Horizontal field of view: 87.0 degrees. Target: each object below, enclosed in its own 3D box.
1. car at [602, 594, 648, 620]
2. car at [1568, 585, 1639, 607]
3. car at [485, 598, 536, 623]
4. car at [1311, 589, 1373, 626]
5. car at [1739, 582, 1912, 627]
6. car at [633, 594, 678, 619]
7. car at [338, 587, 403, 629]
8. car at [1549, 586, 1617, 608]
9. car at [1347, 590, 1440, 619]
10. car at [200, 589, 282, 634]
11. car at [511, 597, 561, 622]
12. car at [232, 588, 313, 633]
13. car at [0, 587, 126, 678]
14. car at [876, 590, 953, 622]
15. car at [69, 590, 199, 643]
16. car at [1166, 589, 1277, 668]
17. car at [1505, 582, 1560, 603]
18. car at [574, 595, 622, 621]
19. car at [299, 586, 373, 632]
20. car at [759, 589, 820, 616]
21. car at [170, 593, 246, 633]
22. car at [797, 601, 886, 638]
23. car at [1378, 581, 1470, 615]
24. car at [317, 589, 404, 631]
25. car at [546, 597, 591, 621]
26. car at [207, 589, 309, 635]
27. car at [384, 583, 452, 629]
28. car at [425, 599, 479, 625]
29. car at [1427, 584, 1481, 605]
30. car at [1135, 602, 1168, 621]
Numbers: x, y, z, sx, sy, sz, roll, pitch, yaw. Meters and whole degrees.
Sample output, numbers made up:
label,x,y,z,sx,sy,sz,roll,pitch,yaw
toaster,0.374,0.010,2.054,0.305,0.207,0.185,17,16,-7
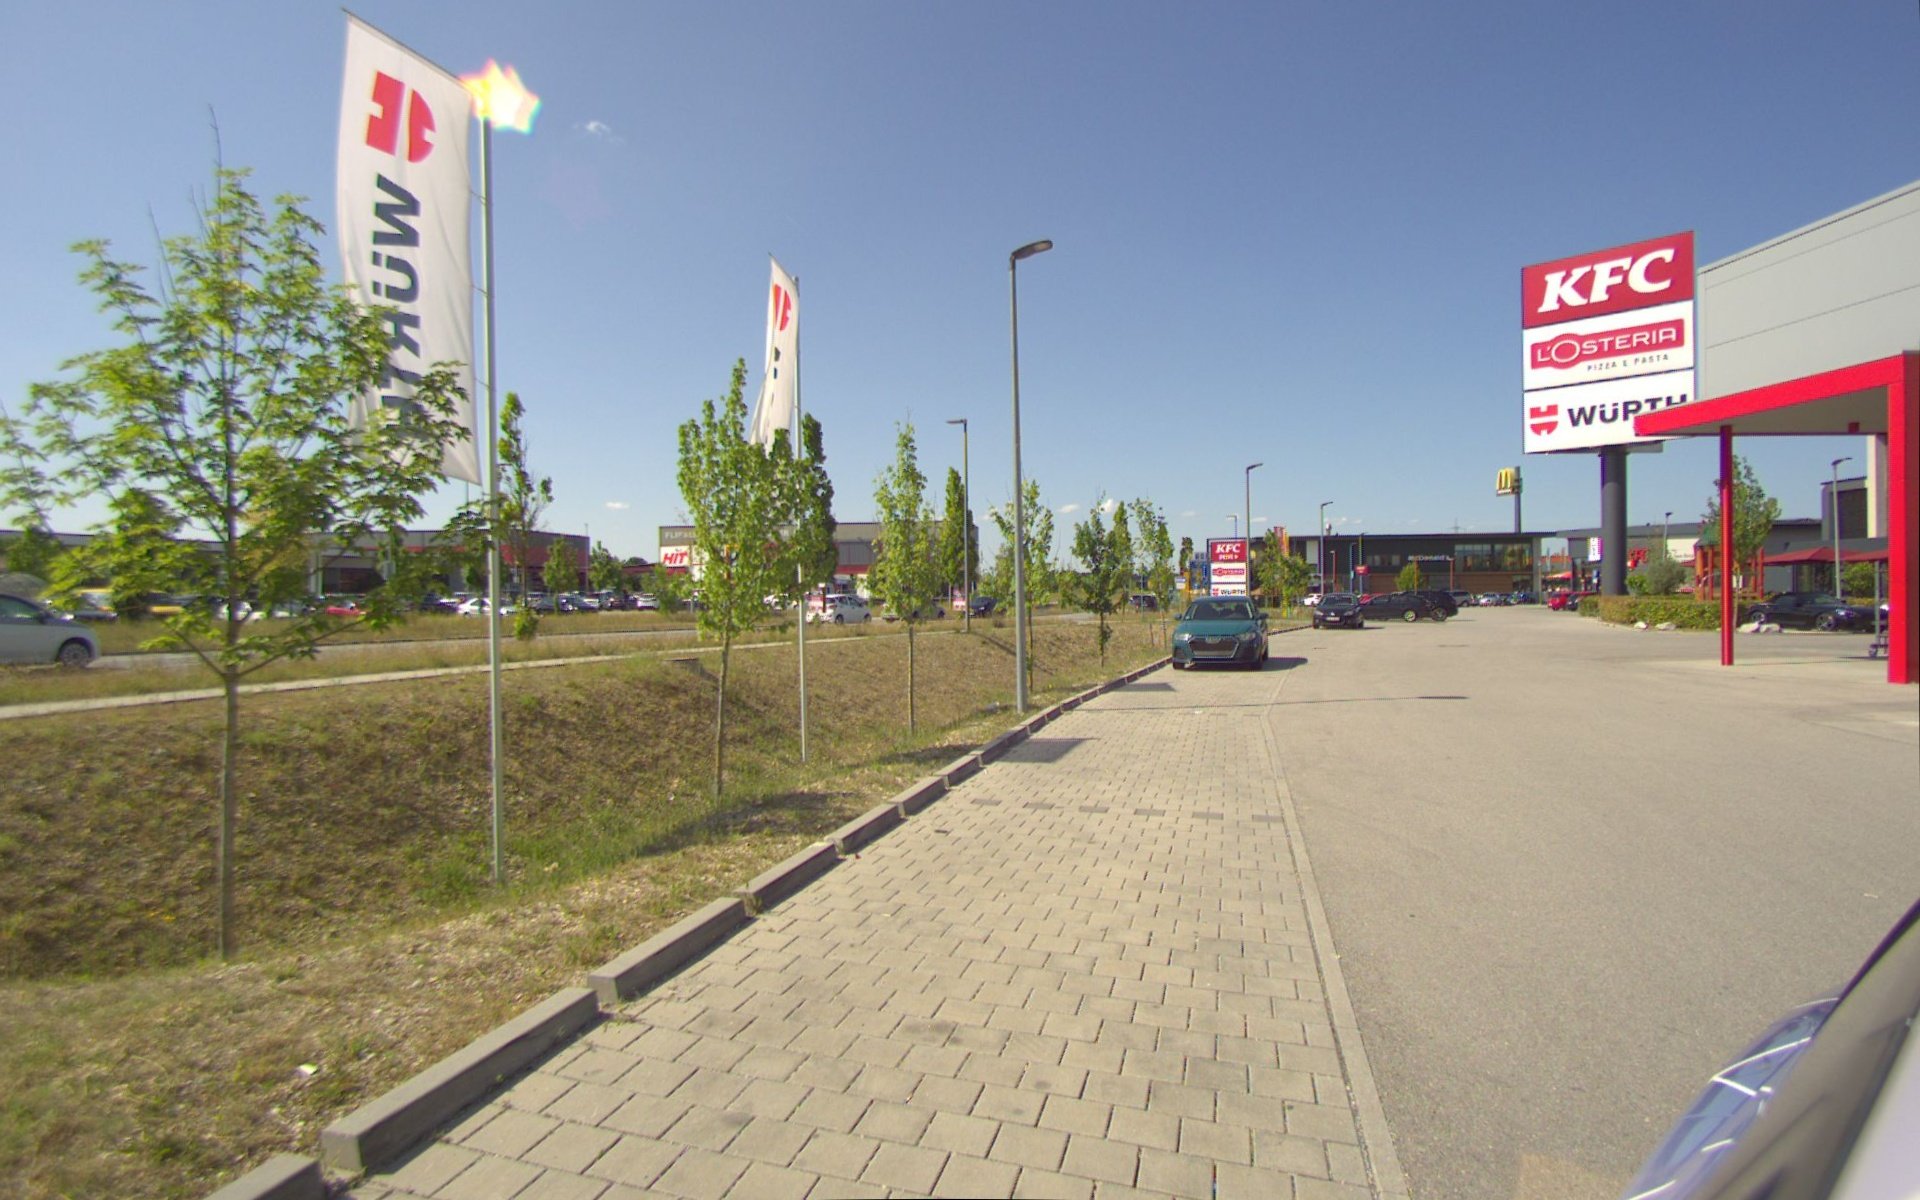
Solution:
label,x,y,z,sx,sy,sz,roll,pitch,yaw
car,-28.190,0.594,85.268,1.966,2.063,4.475,-1,0,7
car,48.247,-0.268,75.977,4.027,1.585,1.875,-1,0,7
car,-38.442,0.859,86.645,1.966,2.063,4.475,-1,0,7
car,16.141,0.283,42.641,1.861,1.484,4.320,-1,0,29
car,27.969,0.126,32.904,1.794,1.354,4.158,-1,0,-5
car,-25.455,0.523,84.778,1.966,2.063,4.475,-1,0,7
car,-42.314,0.576,72.776,1.963,2.857,4.482,-1,0,2
car,48.406,-0.232,78.701,4.027,1.585,1.875,-1,0,7
car,23.183,0.238,54.301,4.482,1.477,1.984,-1,0,23
car,-48.412,0.740,68.251,1.966,2.857,4.475,-1,0,7
car,-36.095,0.799,86.269,1.966,2.063,4.475,-1,0,7
car,-45.629,0.668,67.265,1.966,2.857,4.475,-1,0,7
car,-17.343,0.585,17.917,1.713,1.571,3.771,-1,0,11
car,-2.356,0.303,54.126,1.929,1.571,4.713,-2,0,29
car,-33.921,0.673,41.551,5.060,2.039,2.147,-1,0,25
car,5.531,0.524,21.053,1.823,1.468,4.198,-1,0,20
car,58.876,-0.796,104.118,4.407,2.039,1.996,-1,0,7
car,-30.751,0.660,86.108,1.966,2.063,4.475,-1,0,7
car,-40.651,0.540,66.024,1.963,2.857,4.482,-1,0,2
car,-13.729,0.221,81.589,4.427,2.063,1.987,-1,0,20
car,-55.872,0.927,75.288,1.966,2.857,4.475,-1,0,7
car,-5.497,0.876,47.644,1.926,1.571,4.719,-2,0,25
car,26.259,-0.089,57.352,4.501,1.859,1.976,-1,0,34
car,-29.991,0.500,50.633,4.097,2.039,1.866,-1,0,27
car,-35.468,0.777,91.815,1.966,2.063,4.475,-1,0,7
car,-32.064,0.553,46.232,4.362,2.039,1.928,-1,0,25
car,-35.235,0.399,65.932,1.963,2.857,4.482,-1,0,2
car,-43.533,0.992,86.905,1.966,2.063,4.475,-1,0,7
car,50.113,-0.567,102.793,4.407,2.039,1.996,-1,0,7
car,16.587,0.969,87.592,1.923,1.571,4.727,-2,0,21
